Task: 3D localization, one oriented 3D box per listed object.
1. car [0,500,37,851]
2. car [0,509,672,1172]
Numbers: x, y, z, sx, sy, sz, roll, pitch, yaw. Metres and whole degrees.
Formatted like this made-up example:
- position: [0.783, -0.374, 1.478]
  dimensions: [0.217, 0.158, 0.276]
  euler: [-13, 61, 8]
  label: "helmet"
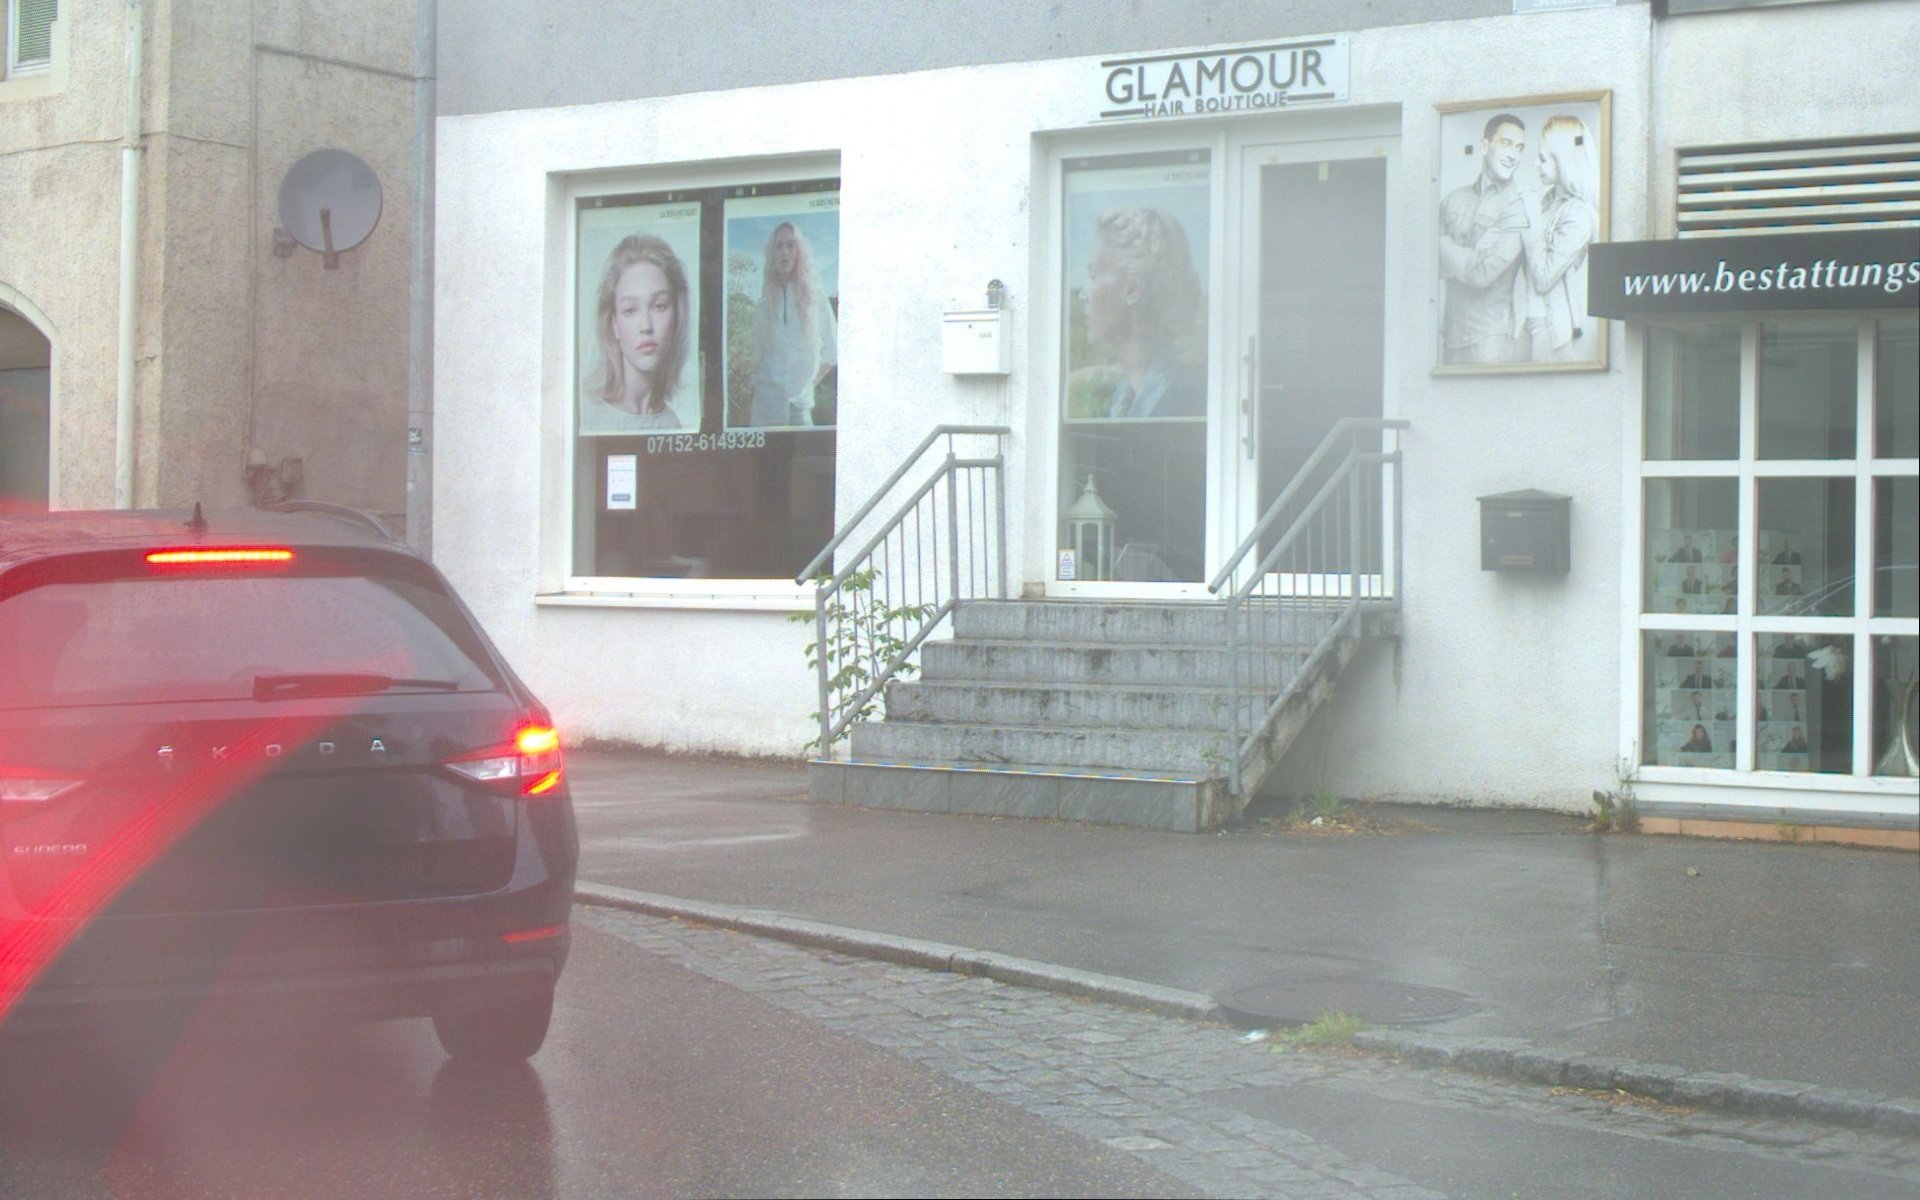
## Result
- position: [-5.831, 0.262, 15.504]
  dimensions: [1.857, 1.468, 3.999]
  euler: [0, 2, -37]
  label: "car"
- position: [-2.415, 0.472, 9.746]
  dimensions: [1.886, 1.443, 4.358]
  euler: [0, 2, -23]
  label: "car"
